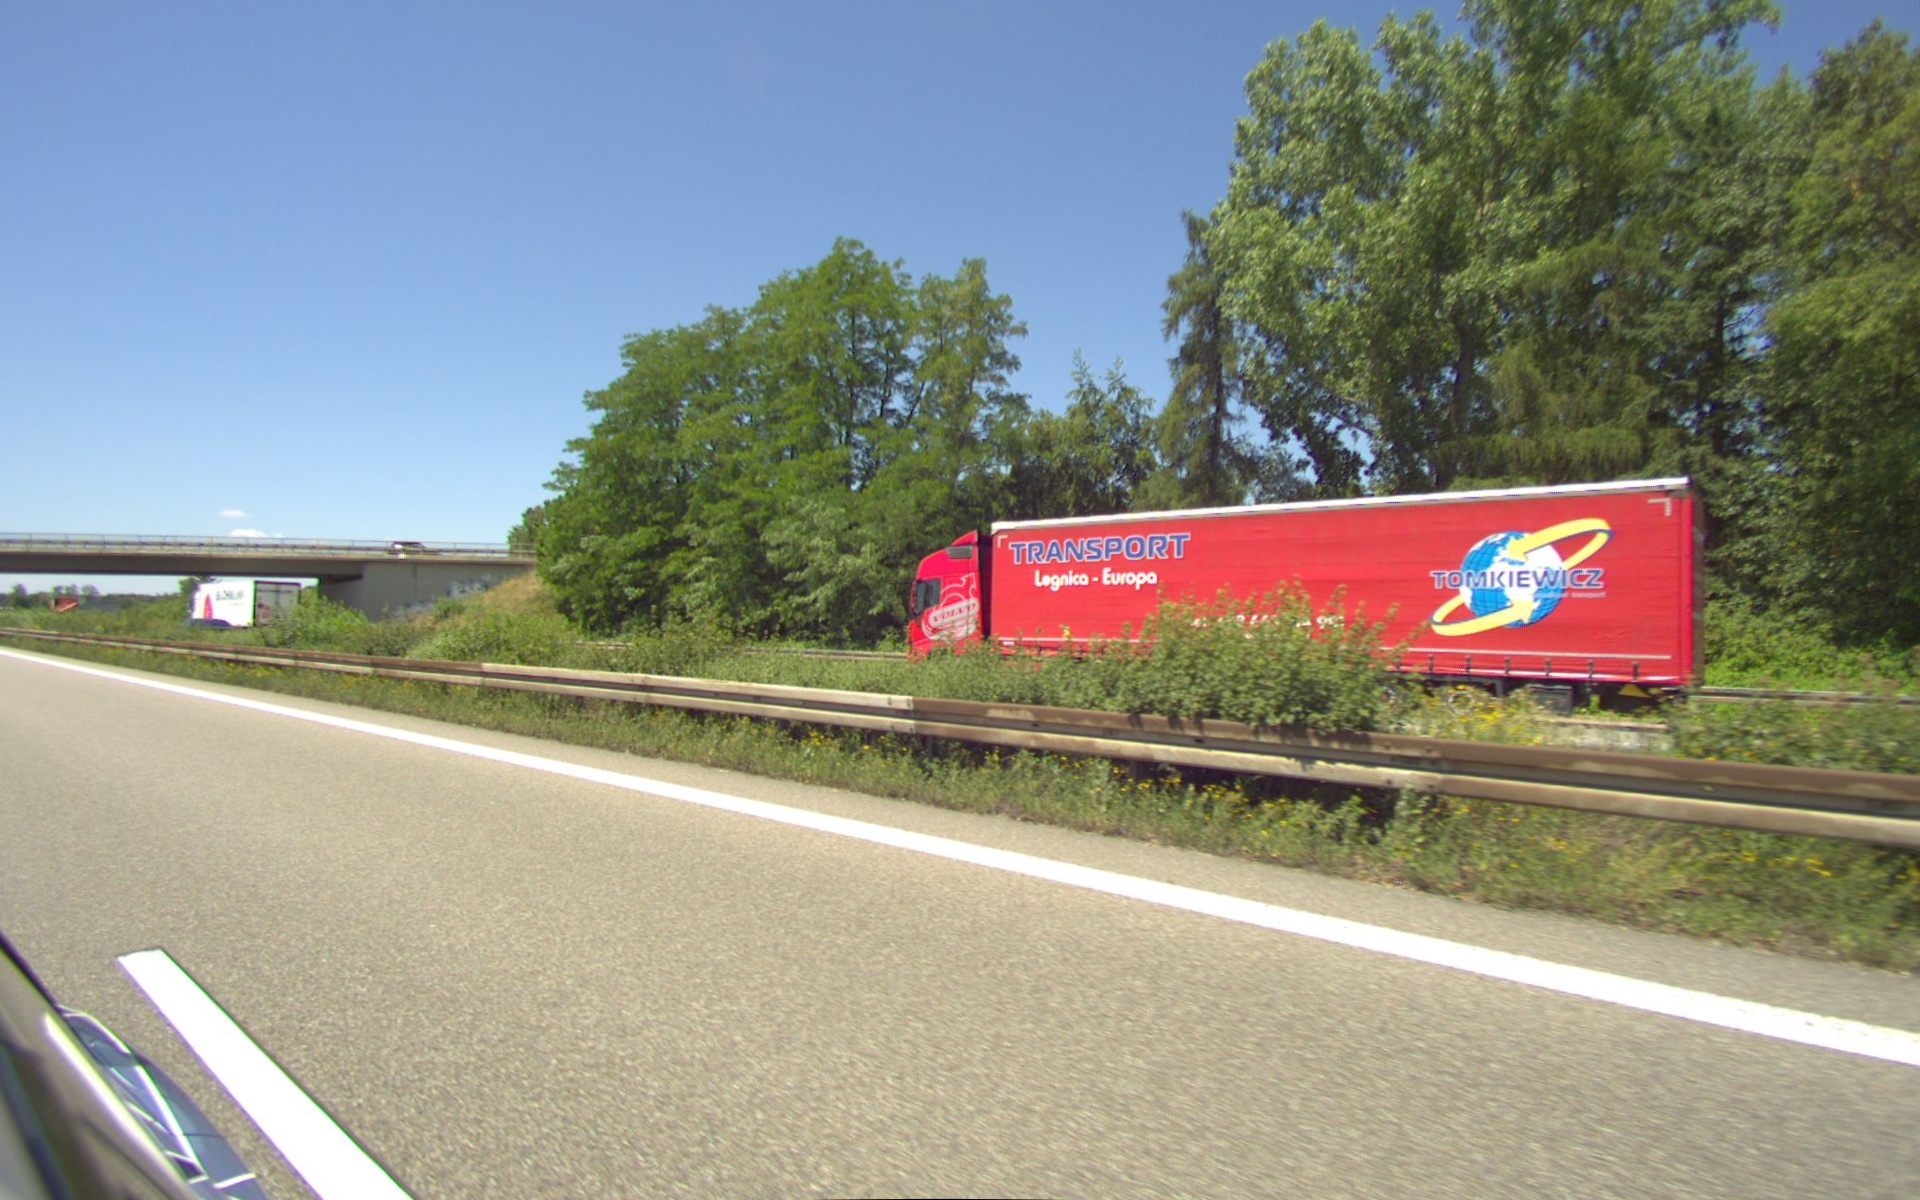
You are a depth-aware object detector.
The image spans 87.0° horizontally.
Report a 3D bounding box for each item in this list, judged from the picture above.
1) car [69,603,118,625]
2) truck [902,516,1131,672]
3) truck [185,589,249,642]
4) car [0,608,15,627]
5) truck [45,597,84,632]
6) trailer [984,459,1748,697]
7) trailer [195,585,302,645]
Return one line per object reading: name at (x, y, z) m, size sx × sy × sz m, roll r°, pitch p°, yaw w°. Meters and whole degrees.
car at (-72.258, 1.164, 84.351) m, size 5.420 × 1.794 × 2.279 m, roll -1°, pitch 0°, yaw 41°
truck at (1.329, -0.112, 25.027) m, size 5.114 × 3.448 × 2.571 m, roll -1°, pitch 0°, yaw 41°
truck at (-54.518, 1.119, 74.259) m, size 5.115 × 3.749 × 2.766 m, roll -1°, pitch 0°, yaw 42°
car at (-96.074, 1.747, 100.823) m, size 5.455 × 1.794 × 2.072 m, roll -1°, pitch 0°, yaw 39°
truck at (-104.594, 1.665, 118.191) m, size 6.496 × 3.927 × 2.585 m, roll -1°, pitch 0°, yaw 41°
trailer at (6.754, -0.225, 20.293) m, size 14.148 × 3.443 × 2.560 m, roll -1°, pitch 0°, yaw 41°
trailer at (-48.927, 1.019, 69.286) m, size 13.922 × 3.738 × 2.796 m, roll -1°, pitch 0°, yaw 41°
